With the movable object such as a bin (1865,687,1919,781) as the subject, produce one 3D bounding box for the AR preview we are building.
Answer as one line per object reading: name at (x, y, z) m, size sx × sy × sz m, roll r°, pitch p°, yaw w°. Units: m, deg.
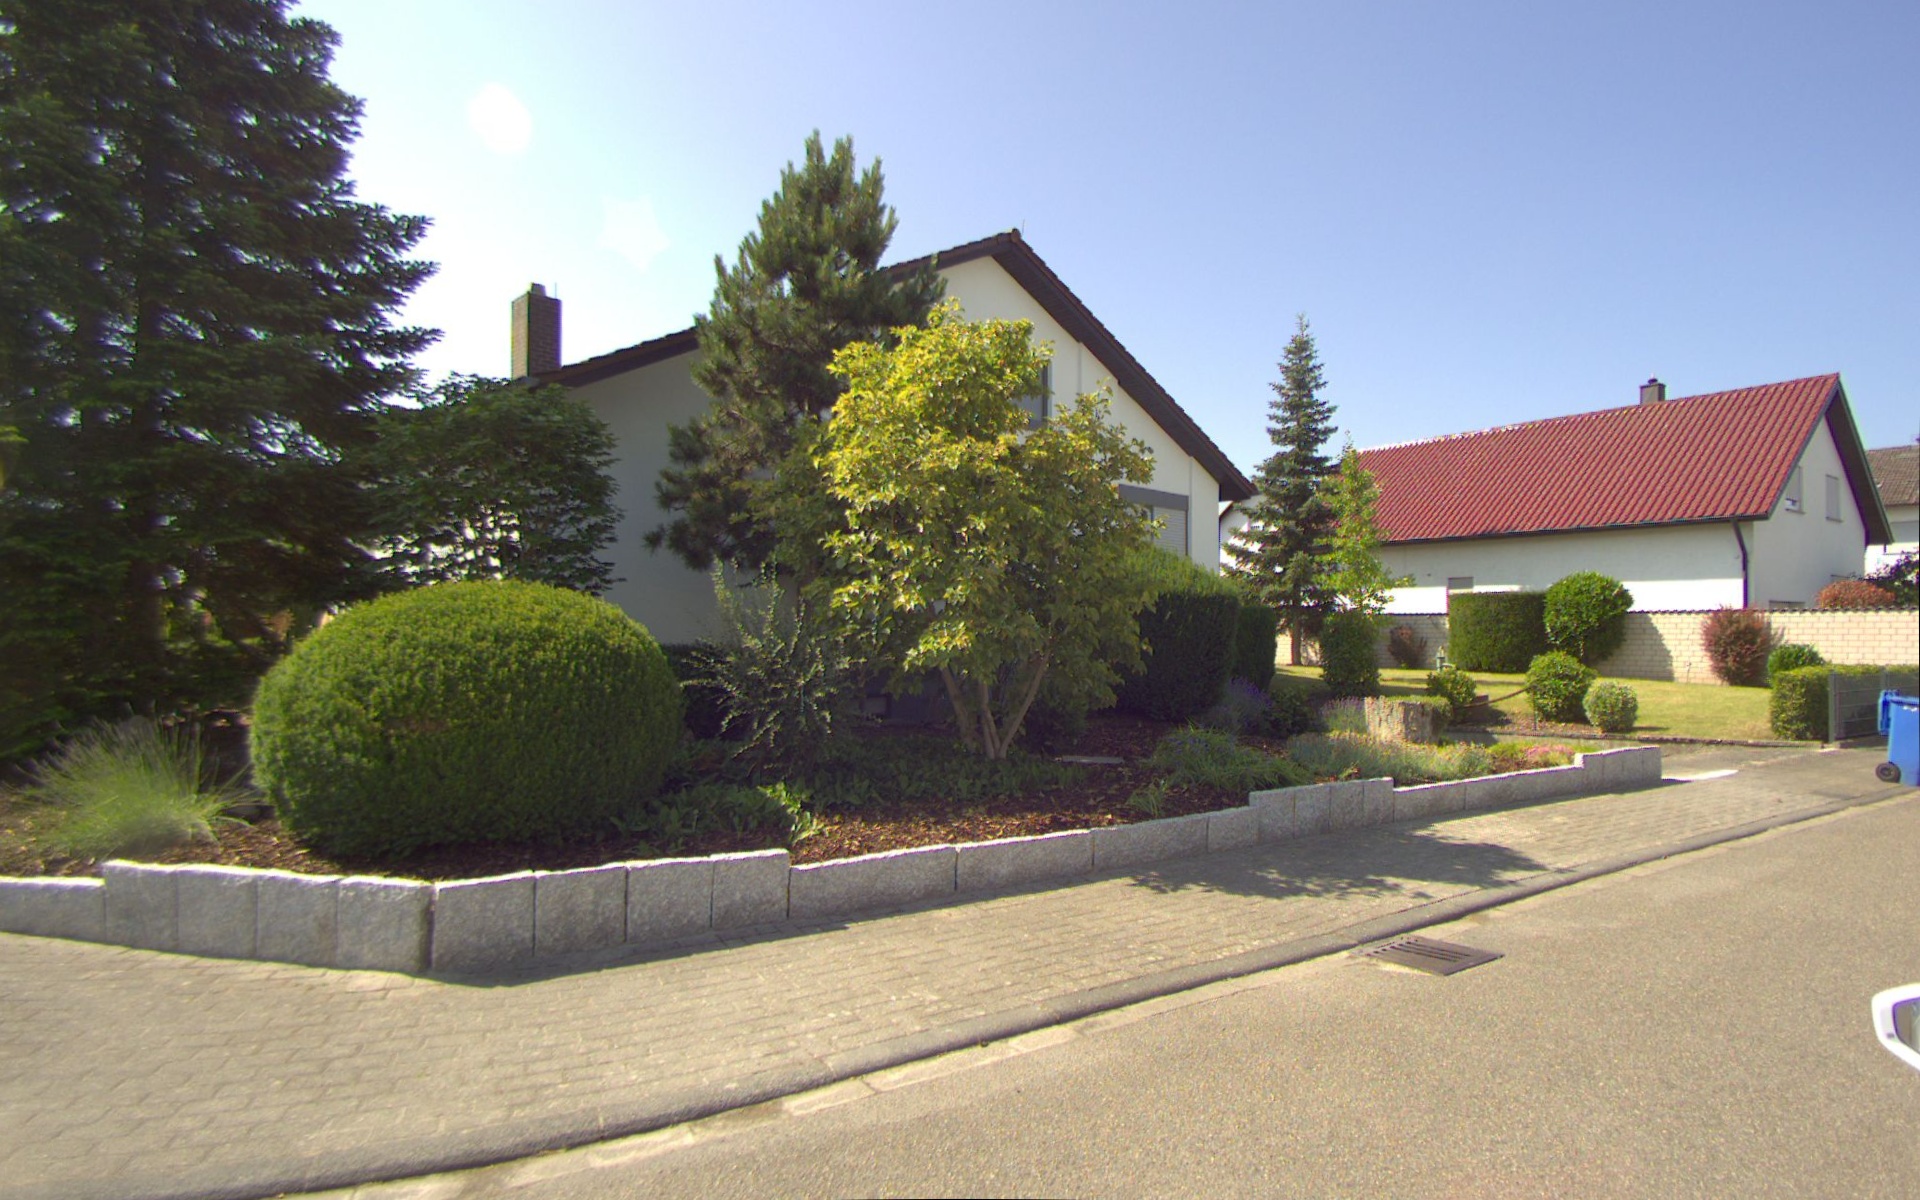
movable object such as a bin at (10.049, 1.409, 10.628) m, size 0.592 × 0.928 × 0.579 m, roll 1°, pitch -1°, yaw -34°
